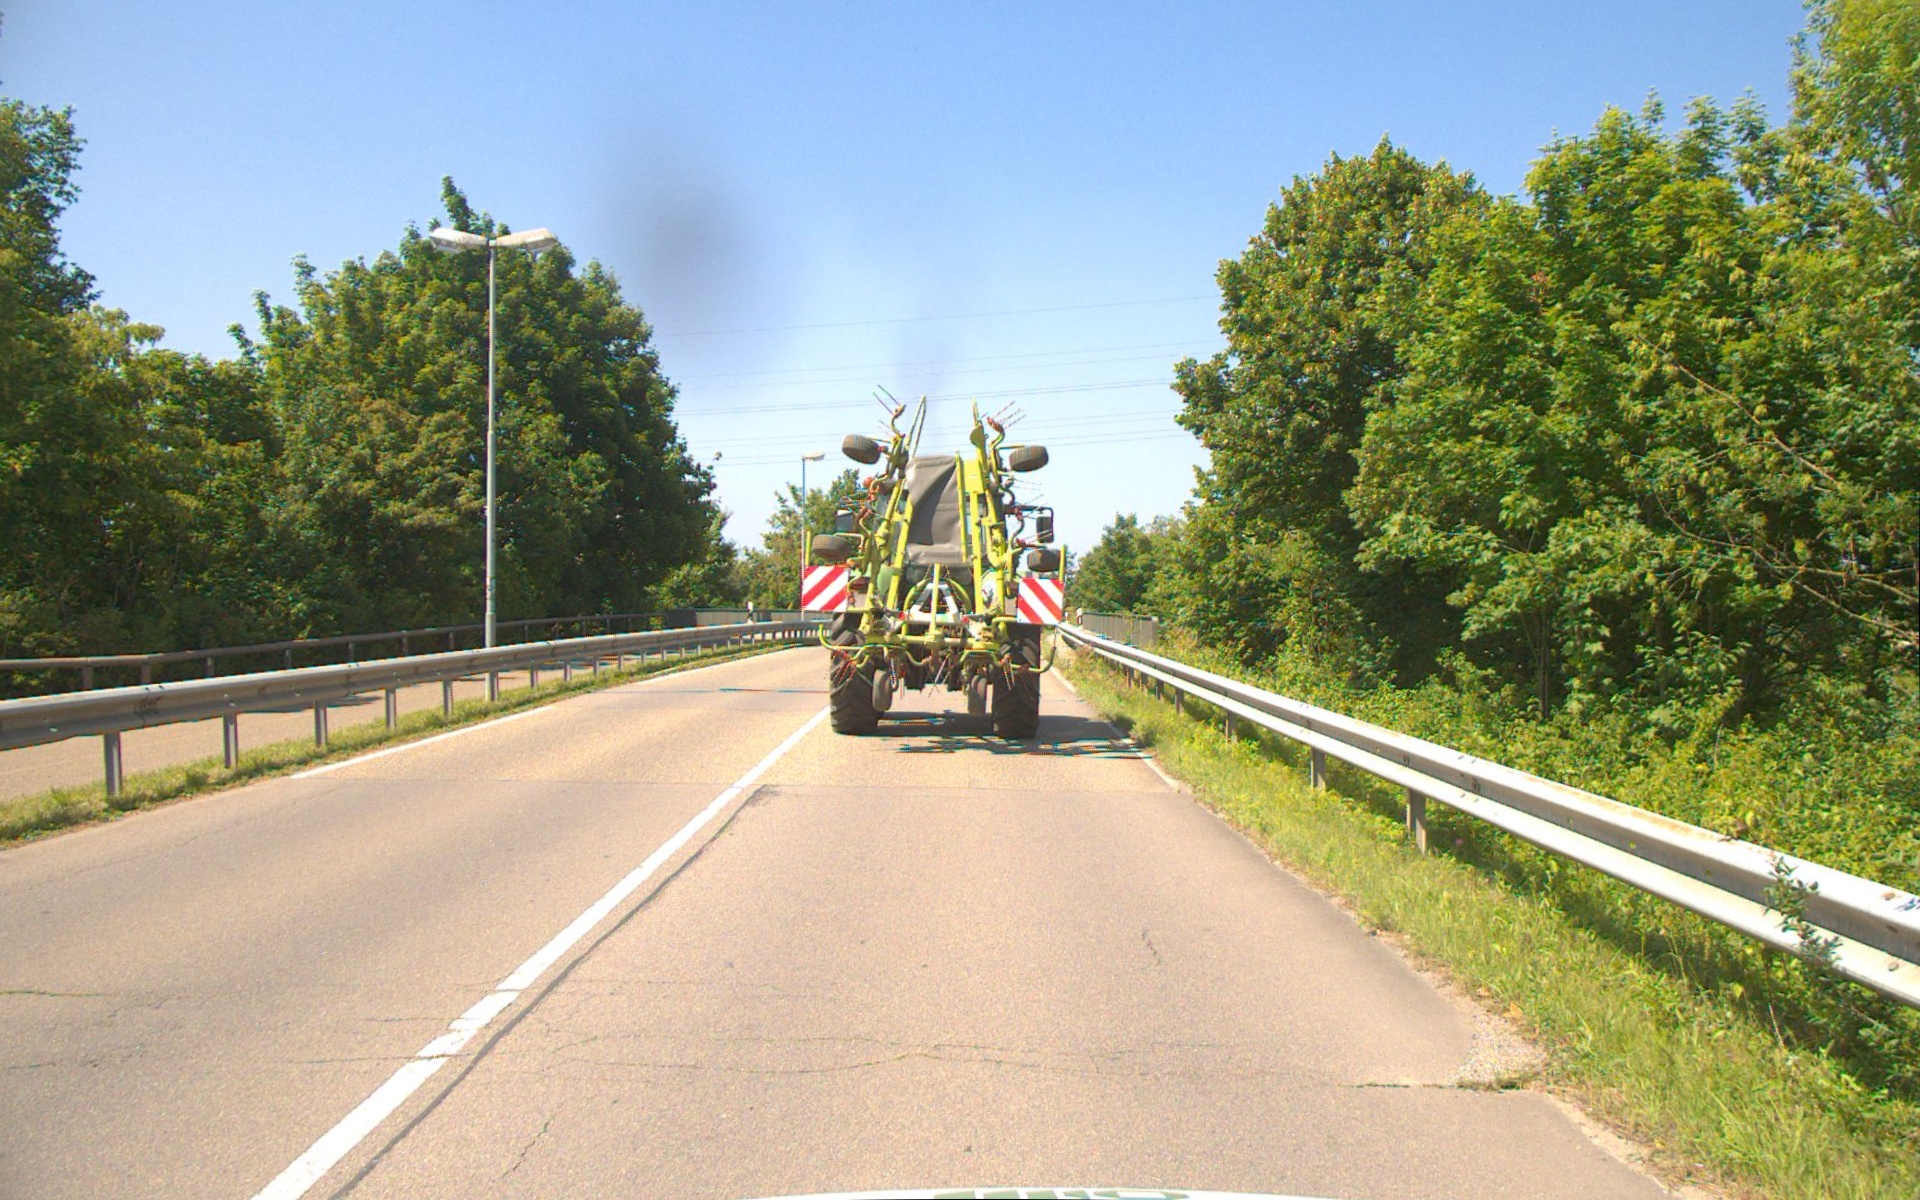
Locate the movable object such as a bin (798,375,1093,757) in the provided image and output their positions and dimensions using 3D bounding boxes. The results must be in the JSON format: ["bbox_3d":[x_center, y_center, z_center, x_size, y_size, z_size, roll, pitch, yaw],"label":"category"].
[{"bbox_3d":[-0.176,-0.323,18.132,2.699,3.504,5.669,1,0,-1],"label":"movable object such as a bin"}]
